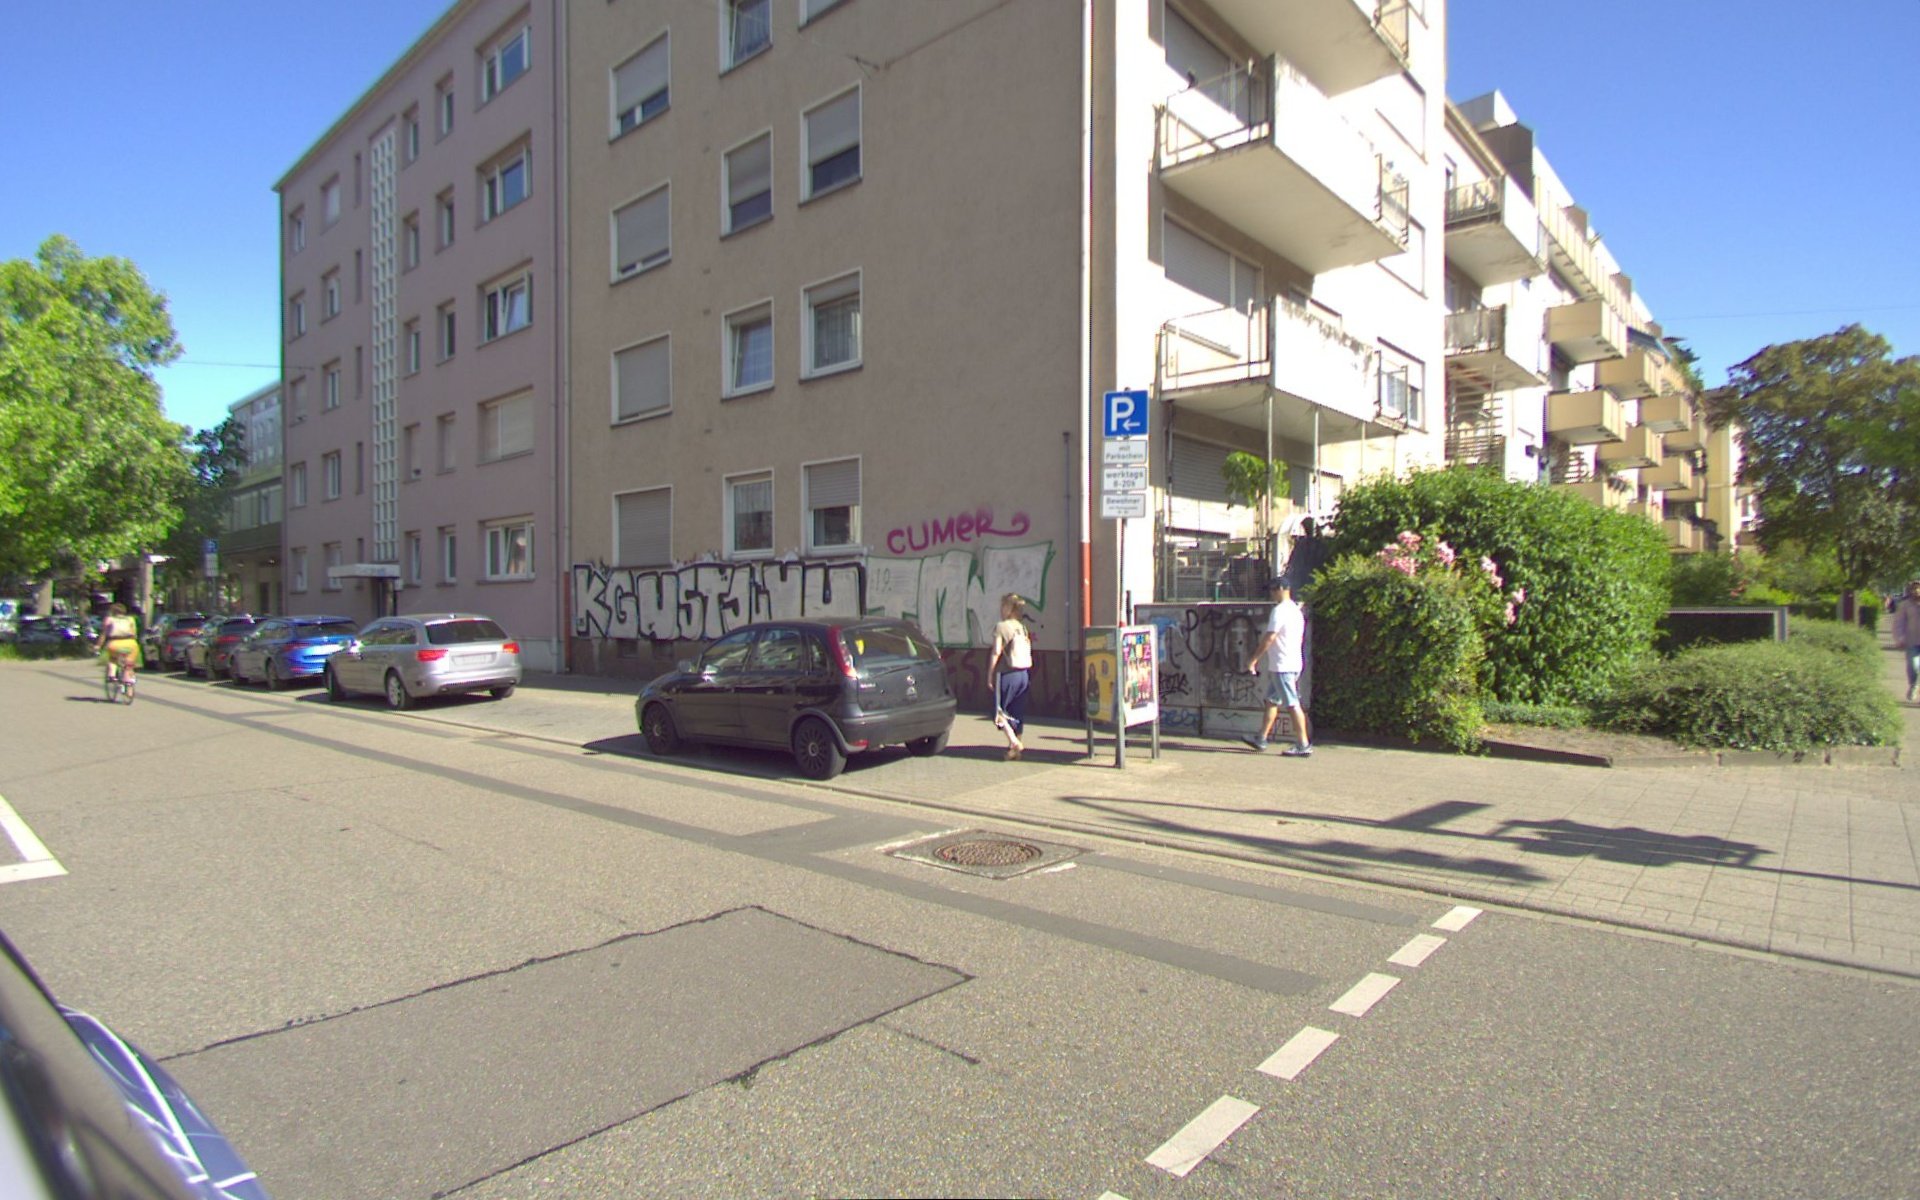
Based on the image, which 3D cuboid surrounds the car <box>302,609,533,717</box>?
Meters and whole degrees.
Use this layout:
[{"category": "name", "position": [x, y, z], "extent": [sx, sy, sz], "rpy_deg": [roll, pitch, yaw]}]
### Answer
[{"category": "car", "position": [-9.299, 0.974, 17.165], "extent": [4.798, 1.514, 1.805], "rpy_deg": [-1, 1, 40]}]

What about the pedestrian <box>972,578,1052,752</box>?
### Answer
[{"category": "pedestrian", "position": [0.493, 0.600, 9.673], "extent": [0.524, 1.593, 0.564], "rpy_deg": [0, -1, -30]}]

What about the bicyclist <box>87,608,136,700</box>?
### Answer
[{"category": "bicyclist", "position": [-14.601, 0.916, 17.414], "extent": [0.774, 1.532, 0.537], "rpy_deg": [-1, -1, 42]}]

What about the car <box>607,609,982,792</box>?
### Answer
[{"category": "car", "position": [-1.810, 0.884, 10.390], "extent": [3.854, 1.459, 1.674], "rpy_deg": [-1, 1, 40]}]

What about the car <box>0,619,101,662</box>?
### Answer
[{"category": "car", "position": [-36.404, 1.578, 39.734], "extent": [1.913, 1.564, 3.943], "rpy_deg": [-1, -1, 44]}]

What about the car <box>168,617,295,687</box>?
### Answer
[{"category": "car", "position": [-17.832, 1.206, 24.706], "extent": [4.158, 1.478, 1.704], "rpy_deg": [-1, 1, 43]}]

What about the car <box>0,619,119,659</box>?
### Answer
[{"category": "car", "position": [-38.051, 1.611, 42.555], "extent": [1.913, 1.564, 3.943], "rpy_deg": [-1, -1, 44]}]

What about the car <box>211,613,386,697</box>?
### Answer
[{"category": "car", "position": [-14.145, 1.108, 21.535], "extent": [4.798, 1.514, 1.805], "rpy_deg": [-1, 1, 40]}]

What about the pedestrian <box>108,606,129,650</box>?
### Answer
[{"category": "pedestrian", "position": [-35.188, 1.180, 42.328], "extent": [0.502, 1.820, 0.615], "rpy_deg": [-1, -1, 42]}]

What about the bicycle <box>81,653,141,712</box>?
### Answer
[{"category": "bicycle", "position": [-14.690, 1.400, 17.493], "extent": [1.825, 0.909, 0.537], "rpy_deg": [-1, -1, 42]}]

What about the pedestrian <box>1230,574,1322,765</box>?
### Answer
[{"category": "pedestrian", "position": [2.947, 0.622, 9.423], "extent": [0.667, 1.701, 0.568], "rpy_deg": [-1, -1, 33]}]

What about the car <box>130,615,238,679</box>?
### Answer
[{"category": "car", "position": [-21.707, 1.255, 28.264], "extent": [4.158, 1.588, 1.704], "rpy_deg": [-1, 1, 43]}]

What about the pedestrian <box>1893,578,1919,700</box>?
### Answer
[{"category": "pedestrian", "position": [12.963, 0.509, 13.499], "extent": [0.696, 1.608, 0.639], "rpy_deg": [-1, -1, 40]}]

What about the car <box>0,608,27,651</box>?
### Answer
[{"category": "car", "position": [-47.459, 1.456, 48.601], "extent": [1.913, 2.058, 3.824], "rpy_deg": [-1, -1, 43]}]
